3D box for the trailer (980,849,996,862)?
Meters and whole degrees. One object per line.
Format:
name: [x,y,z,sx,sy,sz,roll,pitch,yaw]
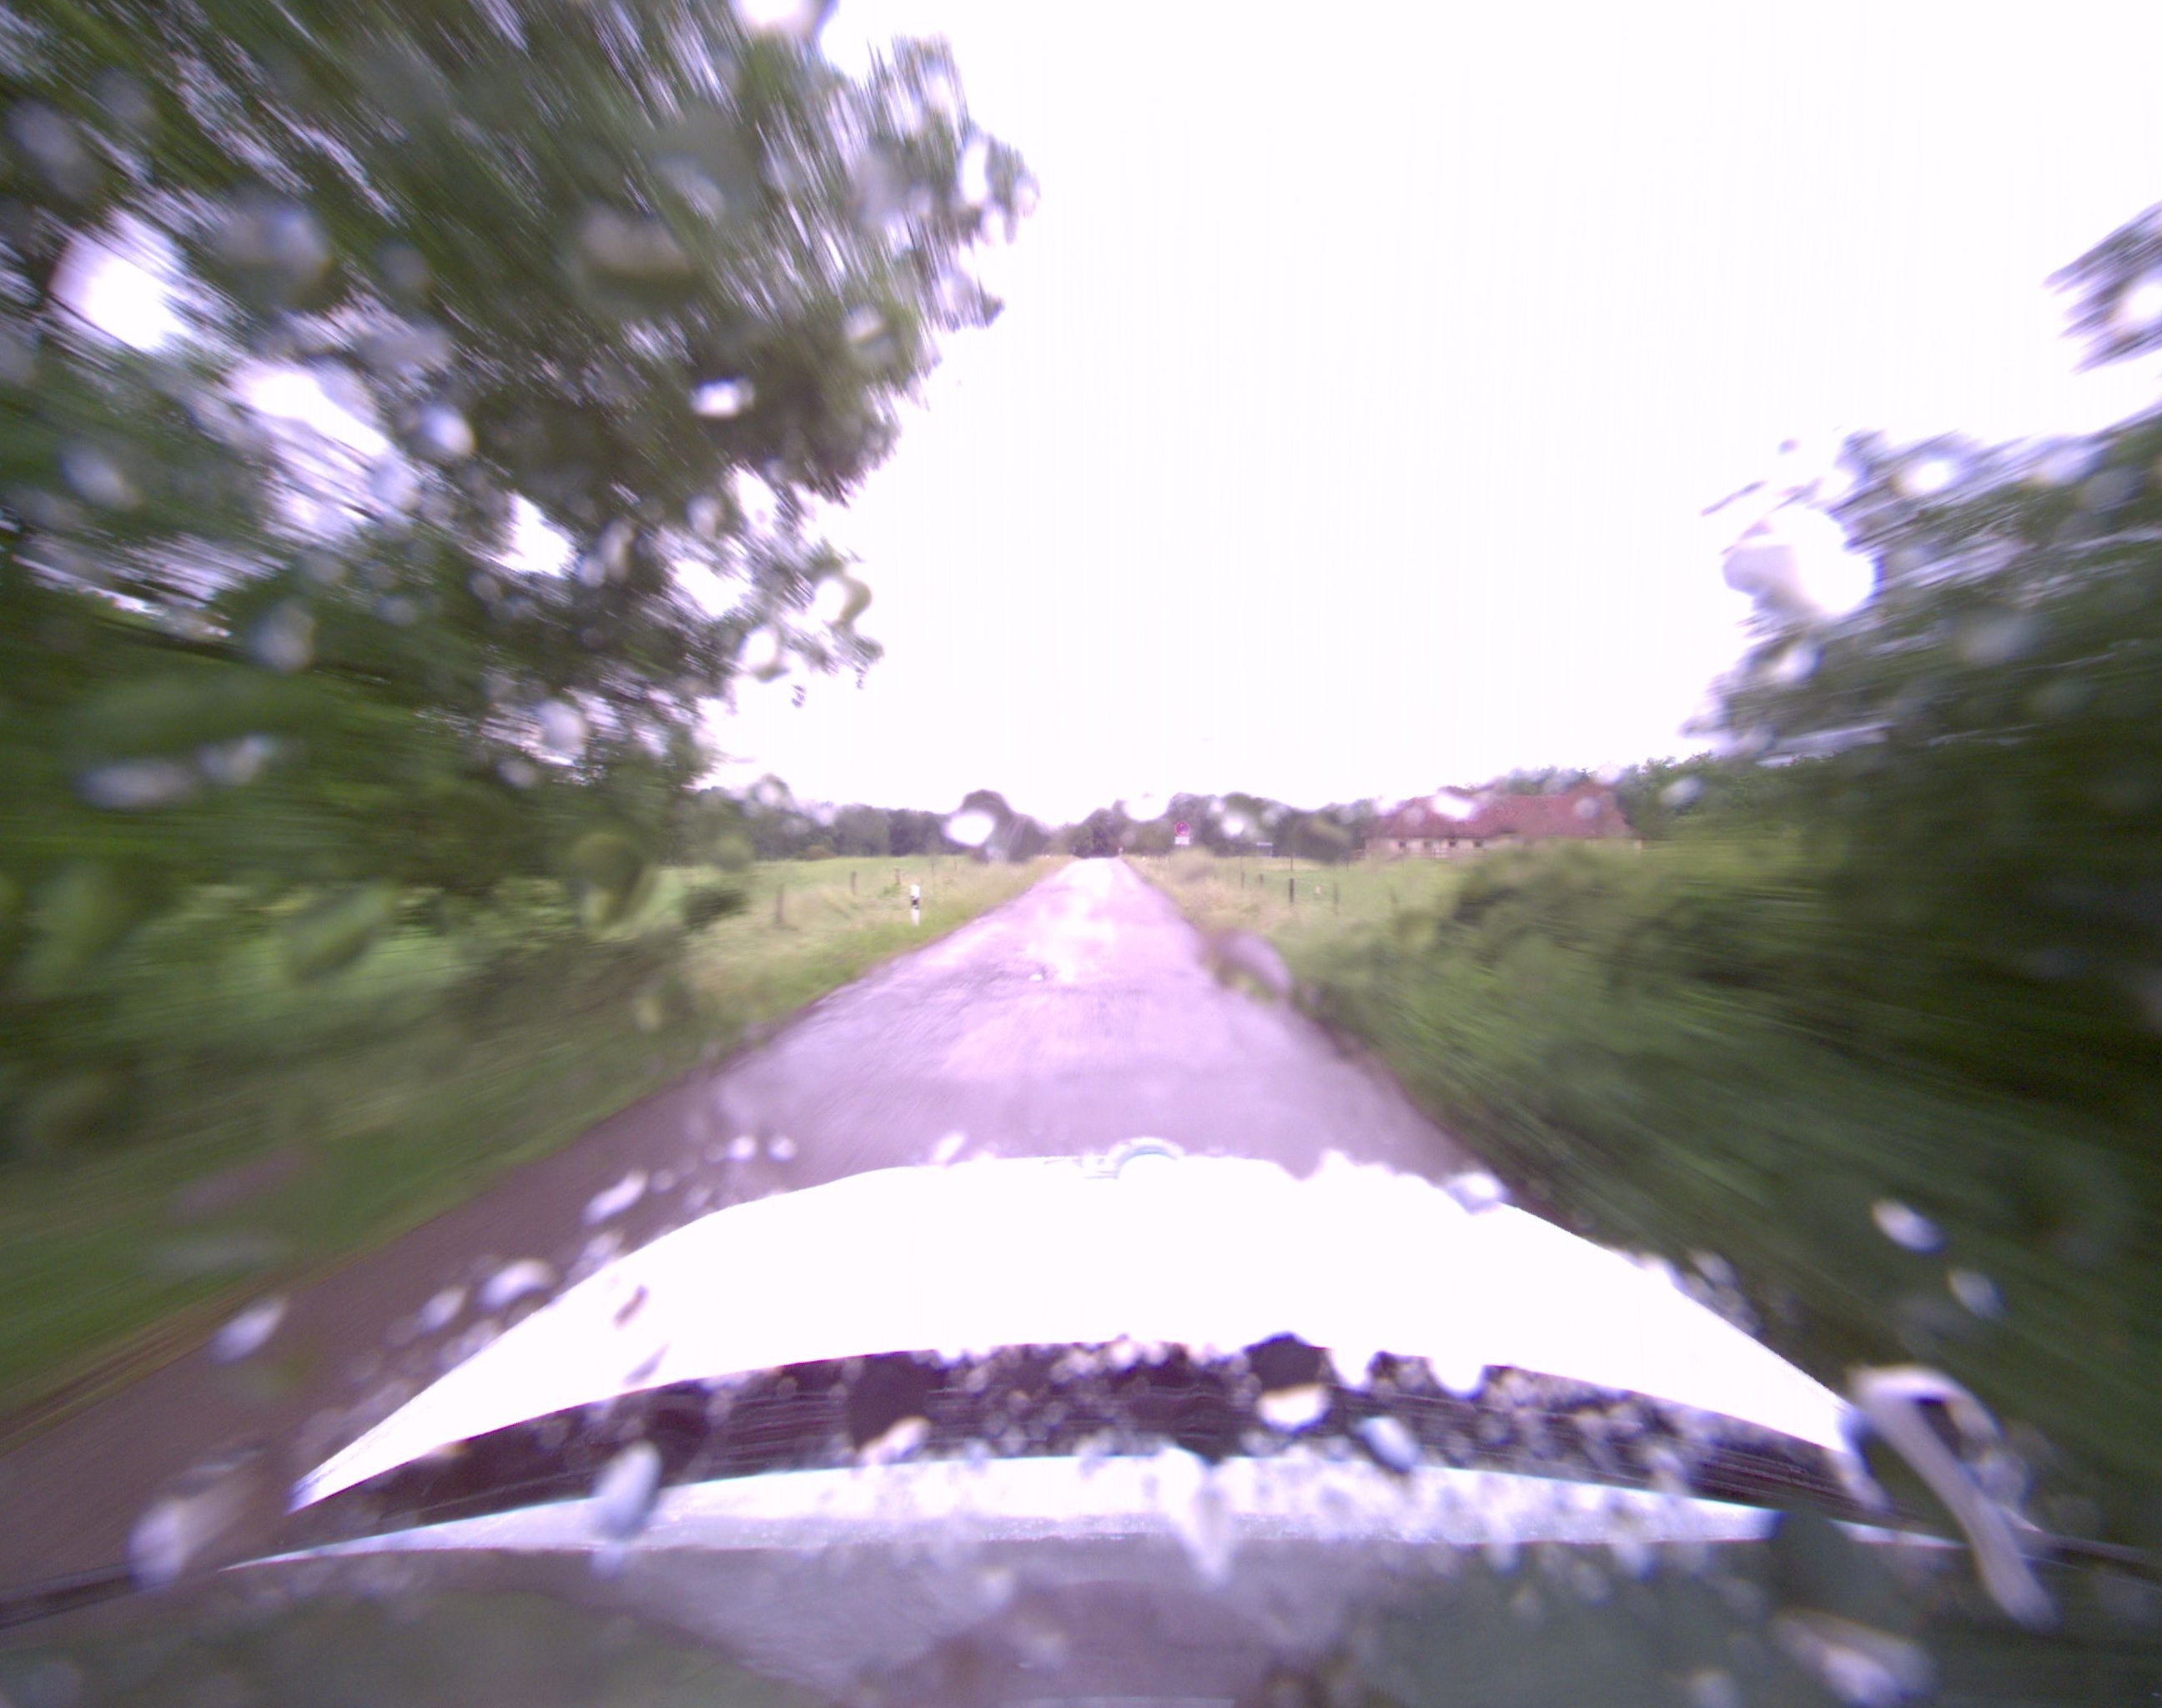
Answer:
trailer: [-11.011,0.166,96.488,1.751,1.504,3.081,0,0,-9]
